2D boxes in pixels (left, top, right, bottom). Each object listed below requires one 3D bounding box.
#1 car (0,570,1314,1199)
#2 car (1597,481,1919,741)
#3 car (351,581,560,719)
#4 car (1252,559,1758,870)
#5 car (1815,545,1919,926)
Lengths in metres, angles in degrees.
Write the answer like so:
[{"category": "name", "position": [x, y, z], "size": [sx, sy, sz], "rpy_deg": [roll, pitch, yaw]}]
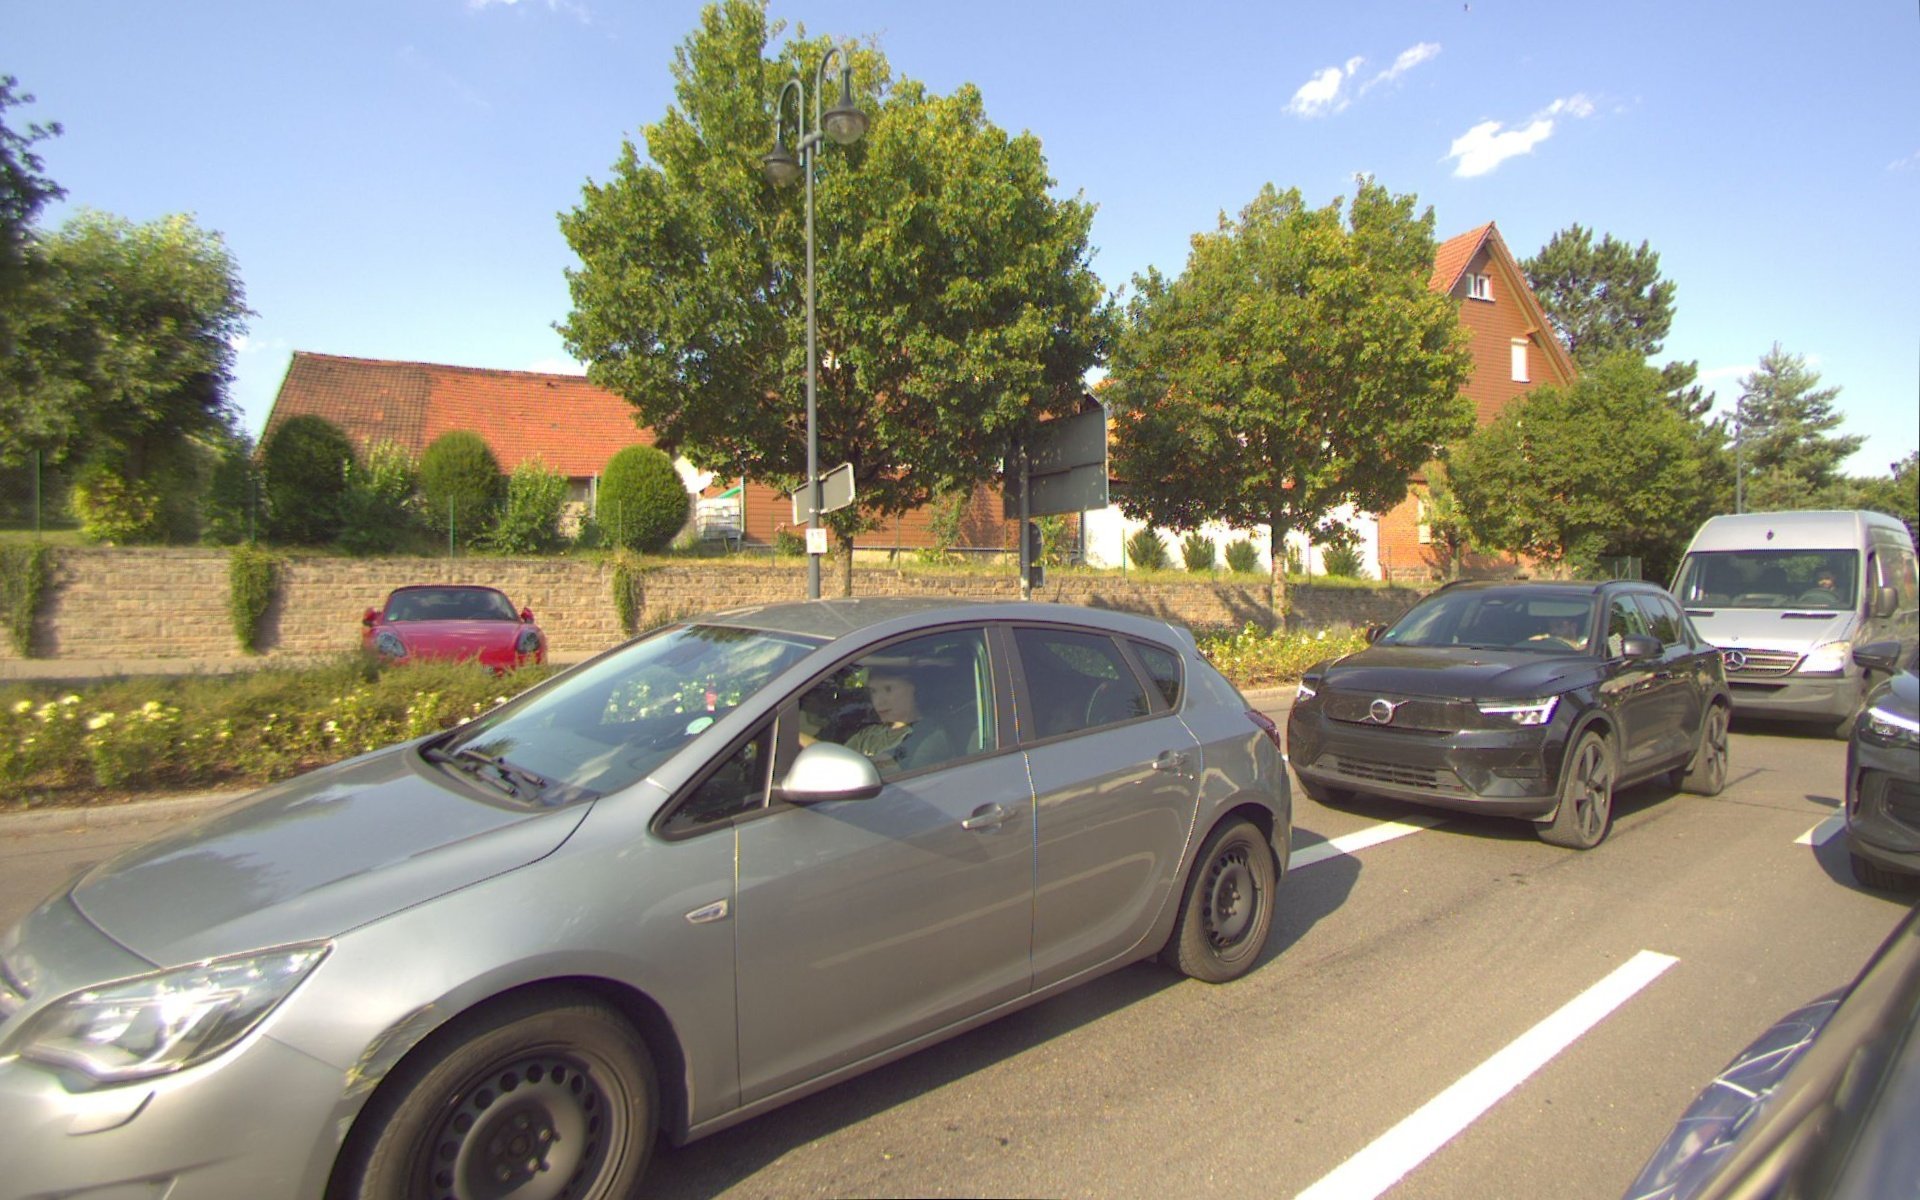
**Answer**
[{"category": "car", "position": [-0.637, 0.670, 3.476], "size": [4.095, 1.460, 1.746], "rpy_deg": [0, 0, -41]}, {"category": "car", "position": [10.532, 0.090, 12.898], "size": [6.082, 2.579, 2.369], "rpy_deg": [0, 0, -40]}, {"category": "car", "position": [-5.798, 0.452, 11.647], "size": [1.816, 1.288, 4.005], "rpy_deg": [0, 0, -28]}, {"category": "car", "position": [4.098, 0.586, 7.340], "size": [4.054, 1.629, 1.885], "rpy_deg": [0, 0, -40]}, {"category": "car", "position": [6.374, 0.591, 5.507], "size": [4.646, 1.677, 1.893], "rpy_deg": [0, 0, -40]}]
